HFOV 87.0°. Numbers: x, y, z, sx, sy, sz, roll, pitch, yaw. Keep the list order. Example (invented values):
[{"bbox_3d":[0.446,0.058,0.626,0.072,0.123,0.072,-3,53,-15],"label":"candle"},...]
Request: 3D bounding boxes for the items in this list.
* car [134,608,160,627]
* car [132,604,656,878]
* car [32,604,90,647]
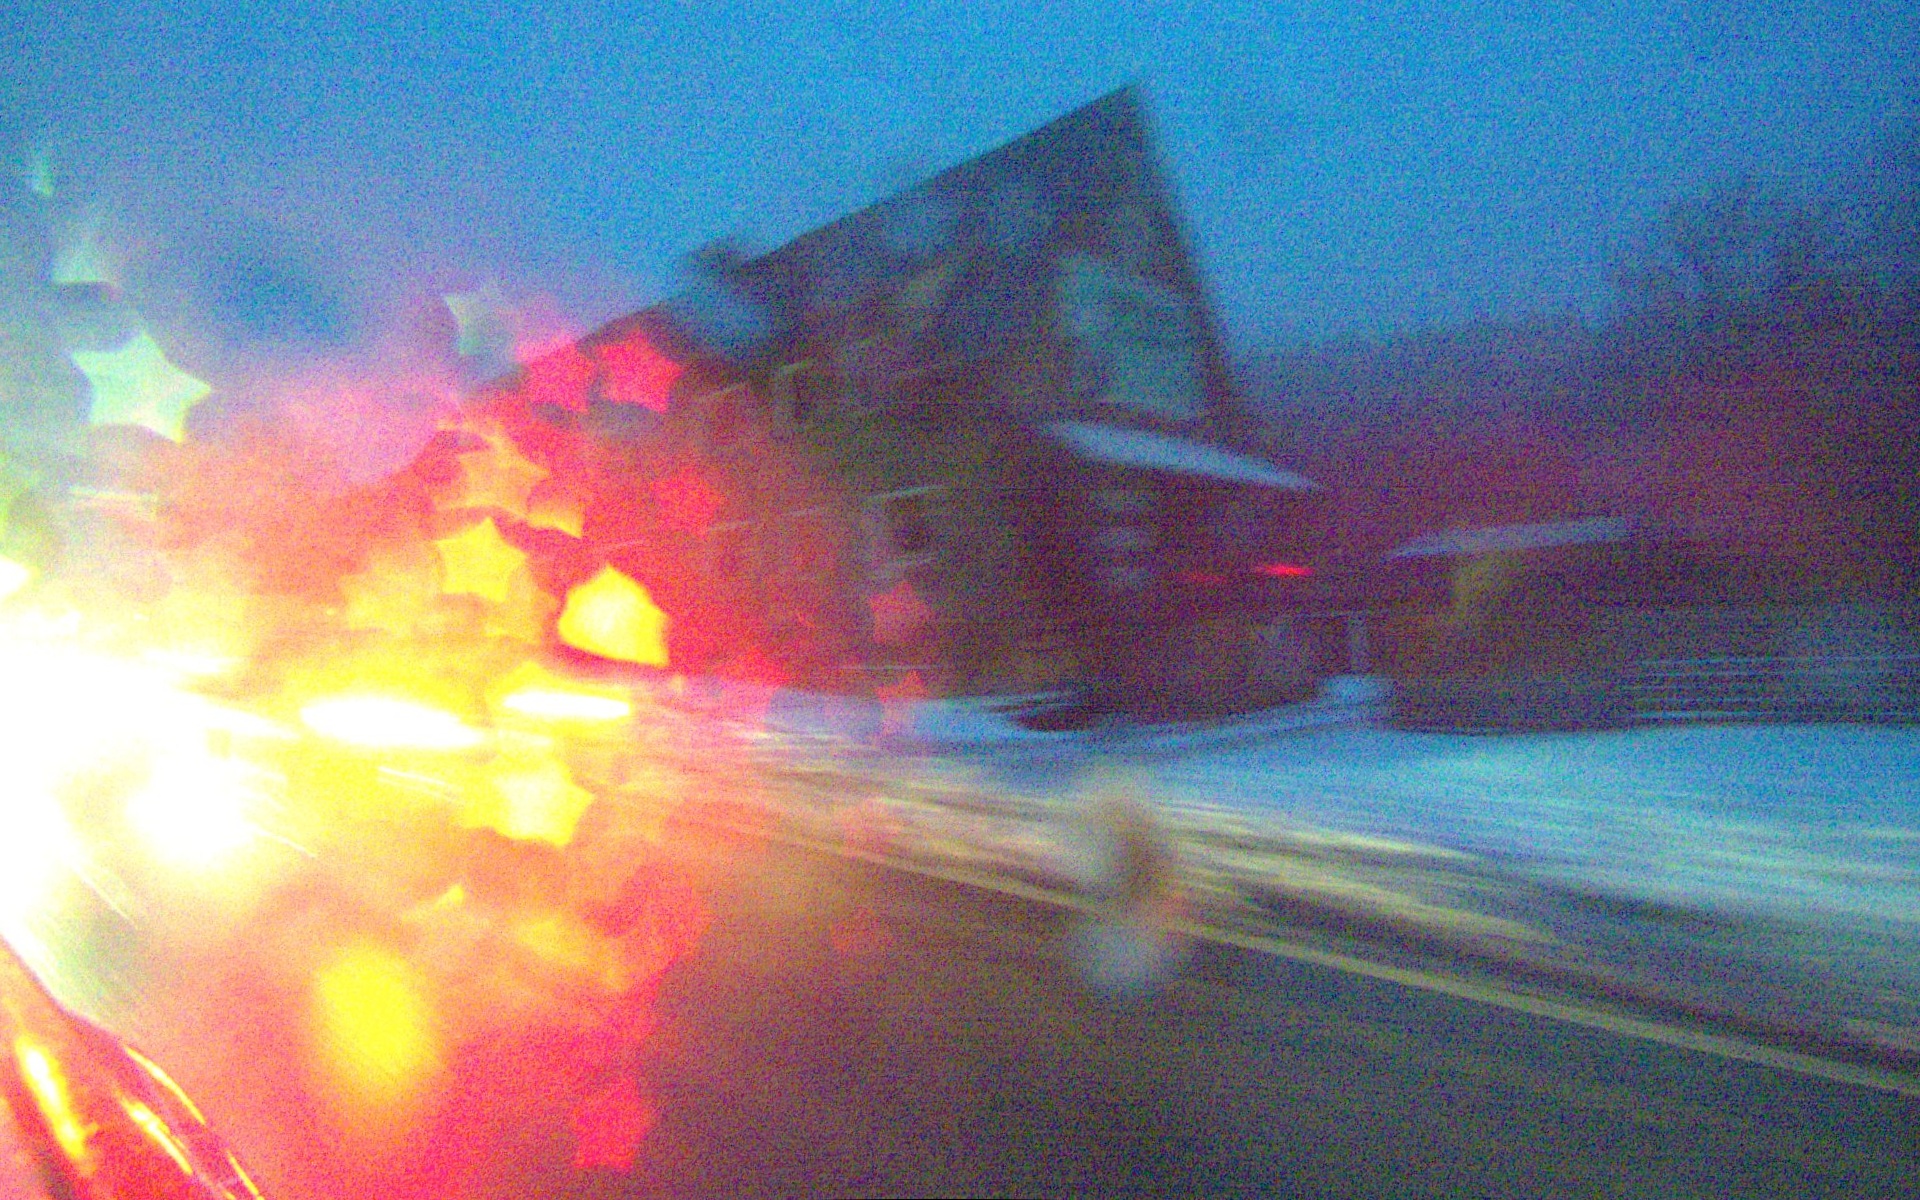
[{"bbox_3d":[-86.002,1.846,107.107,1.951,1.791,4.009,-3,1,-37],"label":"car"},{"bbox_3d":[-4.582,0.783,7.804,4.895,1.471,1.973,-1,-1,41],"label":"car"},{"bbox_3d":[-46.893,1.263,52.892,1.894,2.072,4.898,-3,1,-38],"label":"car"}]
